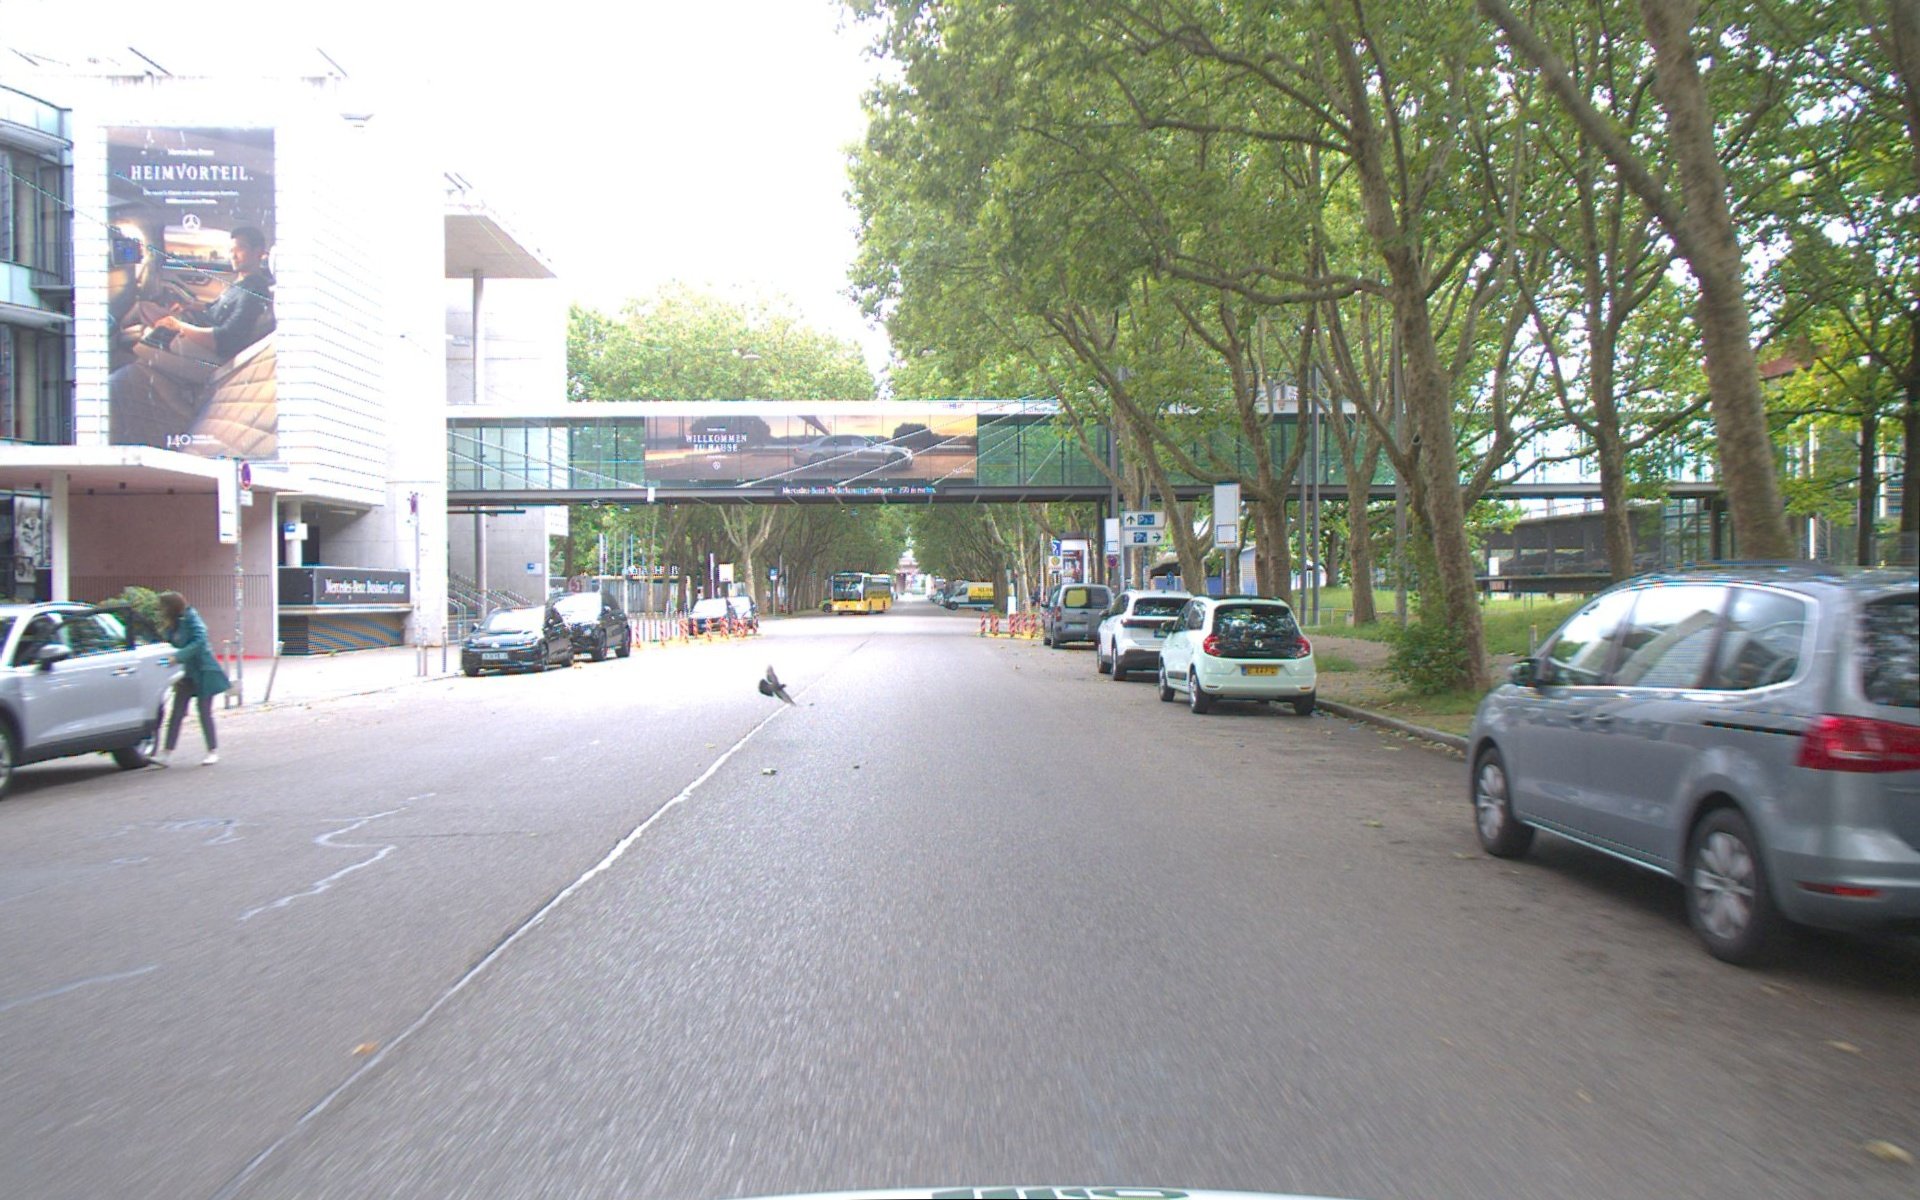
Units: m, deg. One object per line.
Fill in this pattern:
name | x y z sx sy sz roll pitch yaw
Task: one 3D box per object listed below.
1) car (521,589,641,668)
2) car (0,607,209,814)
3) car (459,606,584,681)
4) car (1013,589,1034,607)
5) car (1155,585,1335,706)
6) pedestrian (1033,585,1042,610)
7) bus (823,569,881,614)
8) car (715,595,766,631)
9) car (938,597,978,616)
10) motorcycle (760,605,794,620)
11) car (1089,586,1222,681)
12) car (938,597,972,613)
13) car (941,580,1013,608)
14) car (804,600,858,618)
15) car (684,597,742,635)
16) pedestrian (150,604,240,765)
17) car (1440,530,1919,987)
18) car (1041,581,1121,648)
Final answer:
car | -9.820 0.697 43.216 1.993 1.820 4.907 -3 0 -1
car | -8.614 0.894 14.406 2.031 1.590 4.755 -1 0 -1
car | -9.828 0.933 37.348 1.670 1.444 4.324 -3 0 -1
car | 6.458 -0.166 168.424 1.953 1.803 3.999 0 0 -1
car | 3.923 0.591 23.413 1.771 1.553 4.095 0 0 -1
pedestrian | 6.000 -0.220 128.242 0.562 1.921 0.615 0 0 -10
bus | -8.286 -0.634 128.666 2.975 3.215 12.681 -2 0 3
car | -10.701 0.612 80.960 1.953 1.612 4.112 -3 0 -1
car | -0.209 0.657 165.187 3.907 1.825 1.542 0 0 -2
motorcycle | -14.231 0.987 128.904 2.559 1.143 0.698 0 0 -25
car | 3.608 0.592 31.364 1.875 1.646 4.748 0 0 -1
car | -0.621 0.601 196.411 3.907 1.825 1.542 0 0 -2
car | 1.607 -0.565 157.788 6.688 2.557 2.315 -1 0 -4
car | -11.499 0.787 147.622 4.604 1.612 1.864 0 0 -1
car | -10.715 0.691 71.999 1.821 1.478 4.447 -3 0 -1
pedestrian | -7.300 0.792 15.792 0.571 1.492 0.567 0 0 2
car | 4.230 0.589 8.599 1.942 1.709 4.729 0 0 -2
car | 3.426 0.386 47.809 1.810 1.814 5.210 1 0 -1
